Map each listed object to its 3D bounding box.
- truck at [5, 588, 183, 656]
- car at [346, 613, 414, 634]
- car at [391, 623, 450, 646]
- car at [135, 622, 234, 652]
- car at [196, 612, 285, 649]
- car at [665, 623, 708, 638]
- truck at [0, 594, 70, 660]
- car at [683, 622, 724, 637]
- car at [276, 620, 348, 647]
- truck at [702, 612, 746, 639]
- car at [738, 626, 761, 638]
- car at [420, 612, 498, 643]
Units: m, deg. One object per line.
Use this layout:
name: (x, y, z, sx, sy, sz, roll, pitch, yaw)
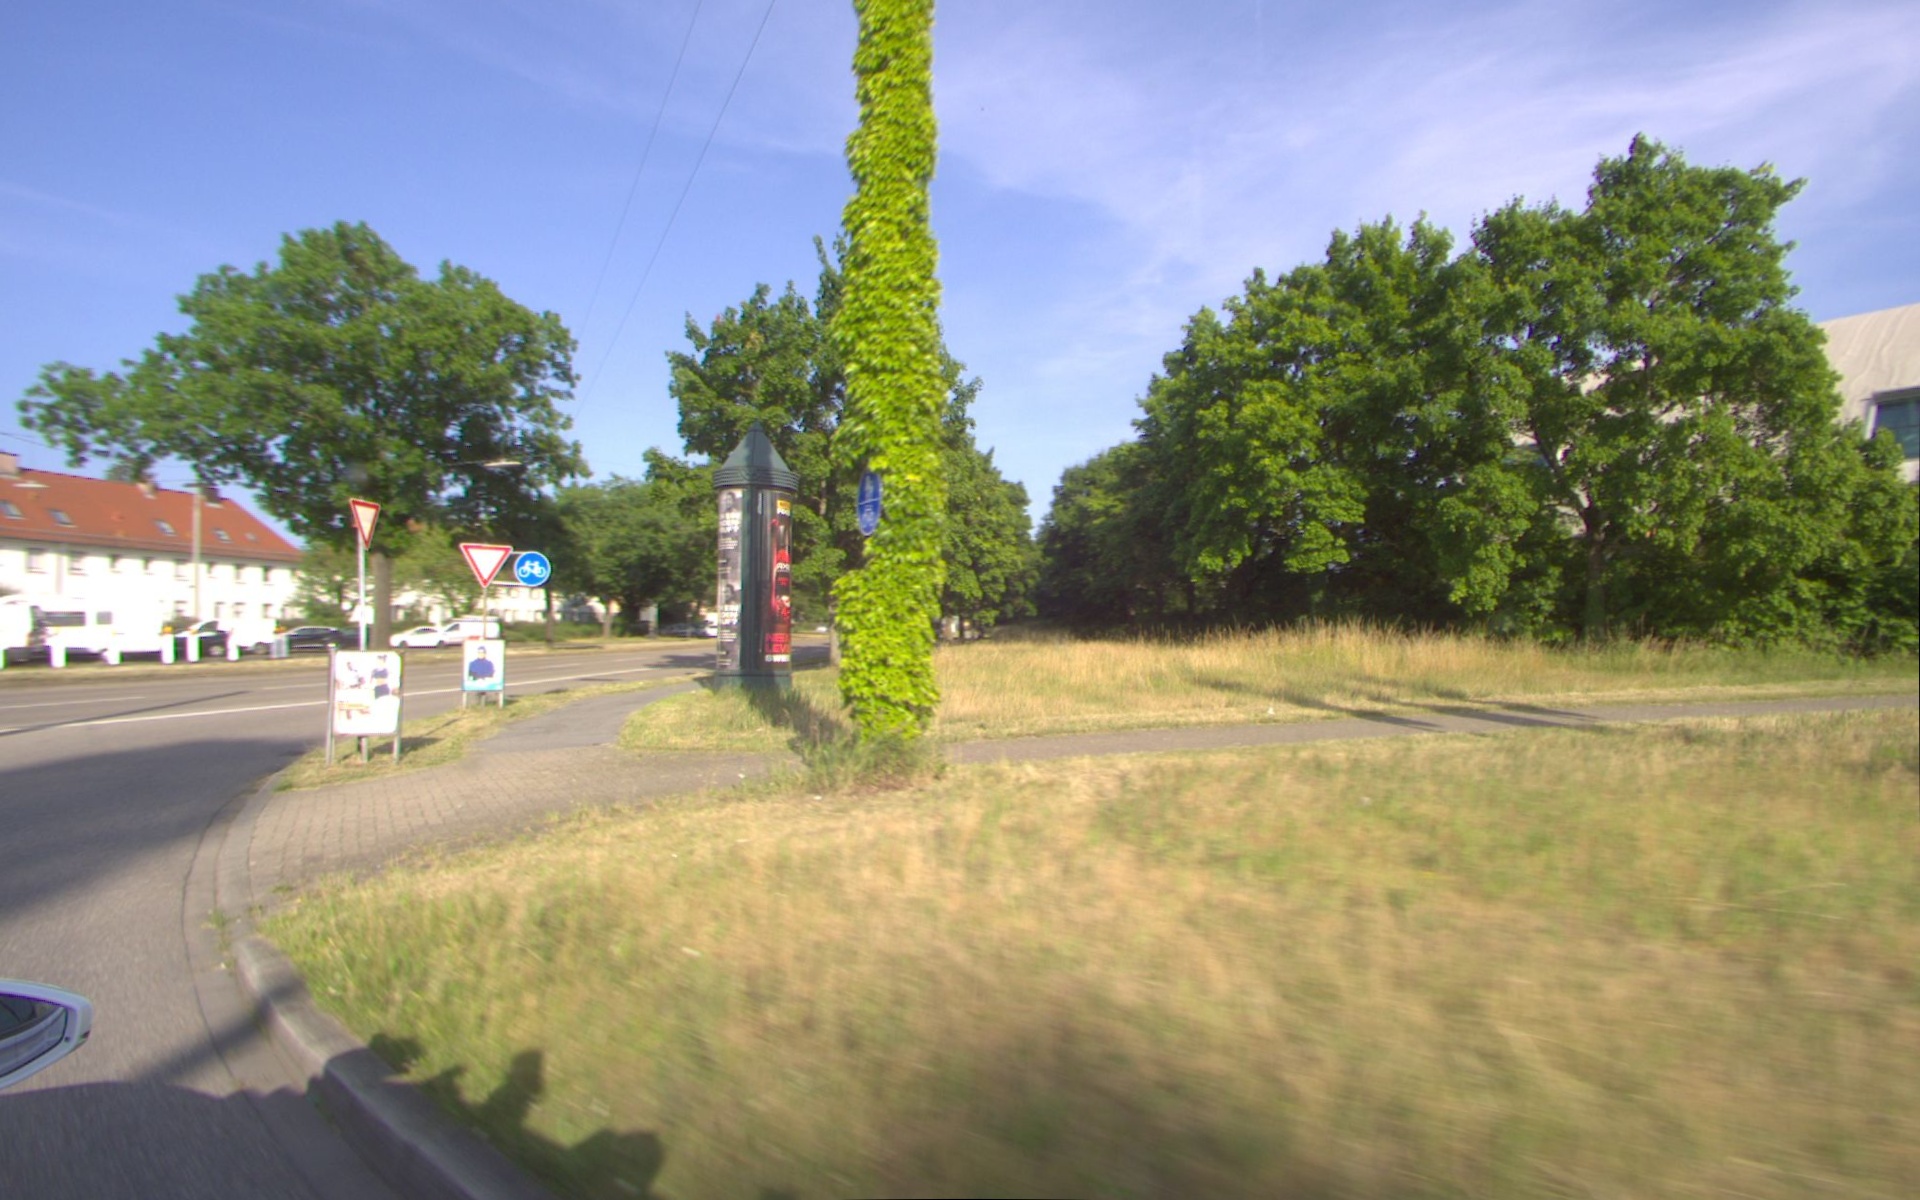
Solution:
truck: (-39.179, 1.005, 45.544, 6.012, 2.891, 1.880, 1, -1, -40)
car: (-50.598, 2.047, 87.419, 4.883, 1.741, 2.000, 0, -1, 6)
car: (-36.993, 2.353, 68.654, 3.390, 1.533, 1.883, 1, -1, -36)
car: (-39.725, 1.868, 51.311, 3.870, 1.475, 1.878, 1, -2, -43)
car: (-39.287, 1.635, 54.696, 3.866, 1.944, 1.880, 1, -1, -40)
car: (-31.981, 3.594, 117.290, 4.487, 1.745, 1.985, 1, -2, -37)
truck: (-39.360, 1.037, 39.245, 6.265, 2.556, 2.267, 2, -2, -29)
car: (-31.421, 3.630, 122.880, 4.487, 1.745, 1.985, 1, -2, -37)
car: (-37.904, 1.927, 58.598, 3.456, 1.533, 1.883, 1, -1, -36)
truck: (-31.490, 3.455, 133.622, 5.452, 3.509, 1.980, 1, -1, -44)
car: (-24.893, 3.769, 118.660, 1.682, 1.371, 4.001, 0, -1, 3)
car: (-37.156, 2.022, 74.317, 4.924, 2.261, 1.984, 1, -1, -40)
